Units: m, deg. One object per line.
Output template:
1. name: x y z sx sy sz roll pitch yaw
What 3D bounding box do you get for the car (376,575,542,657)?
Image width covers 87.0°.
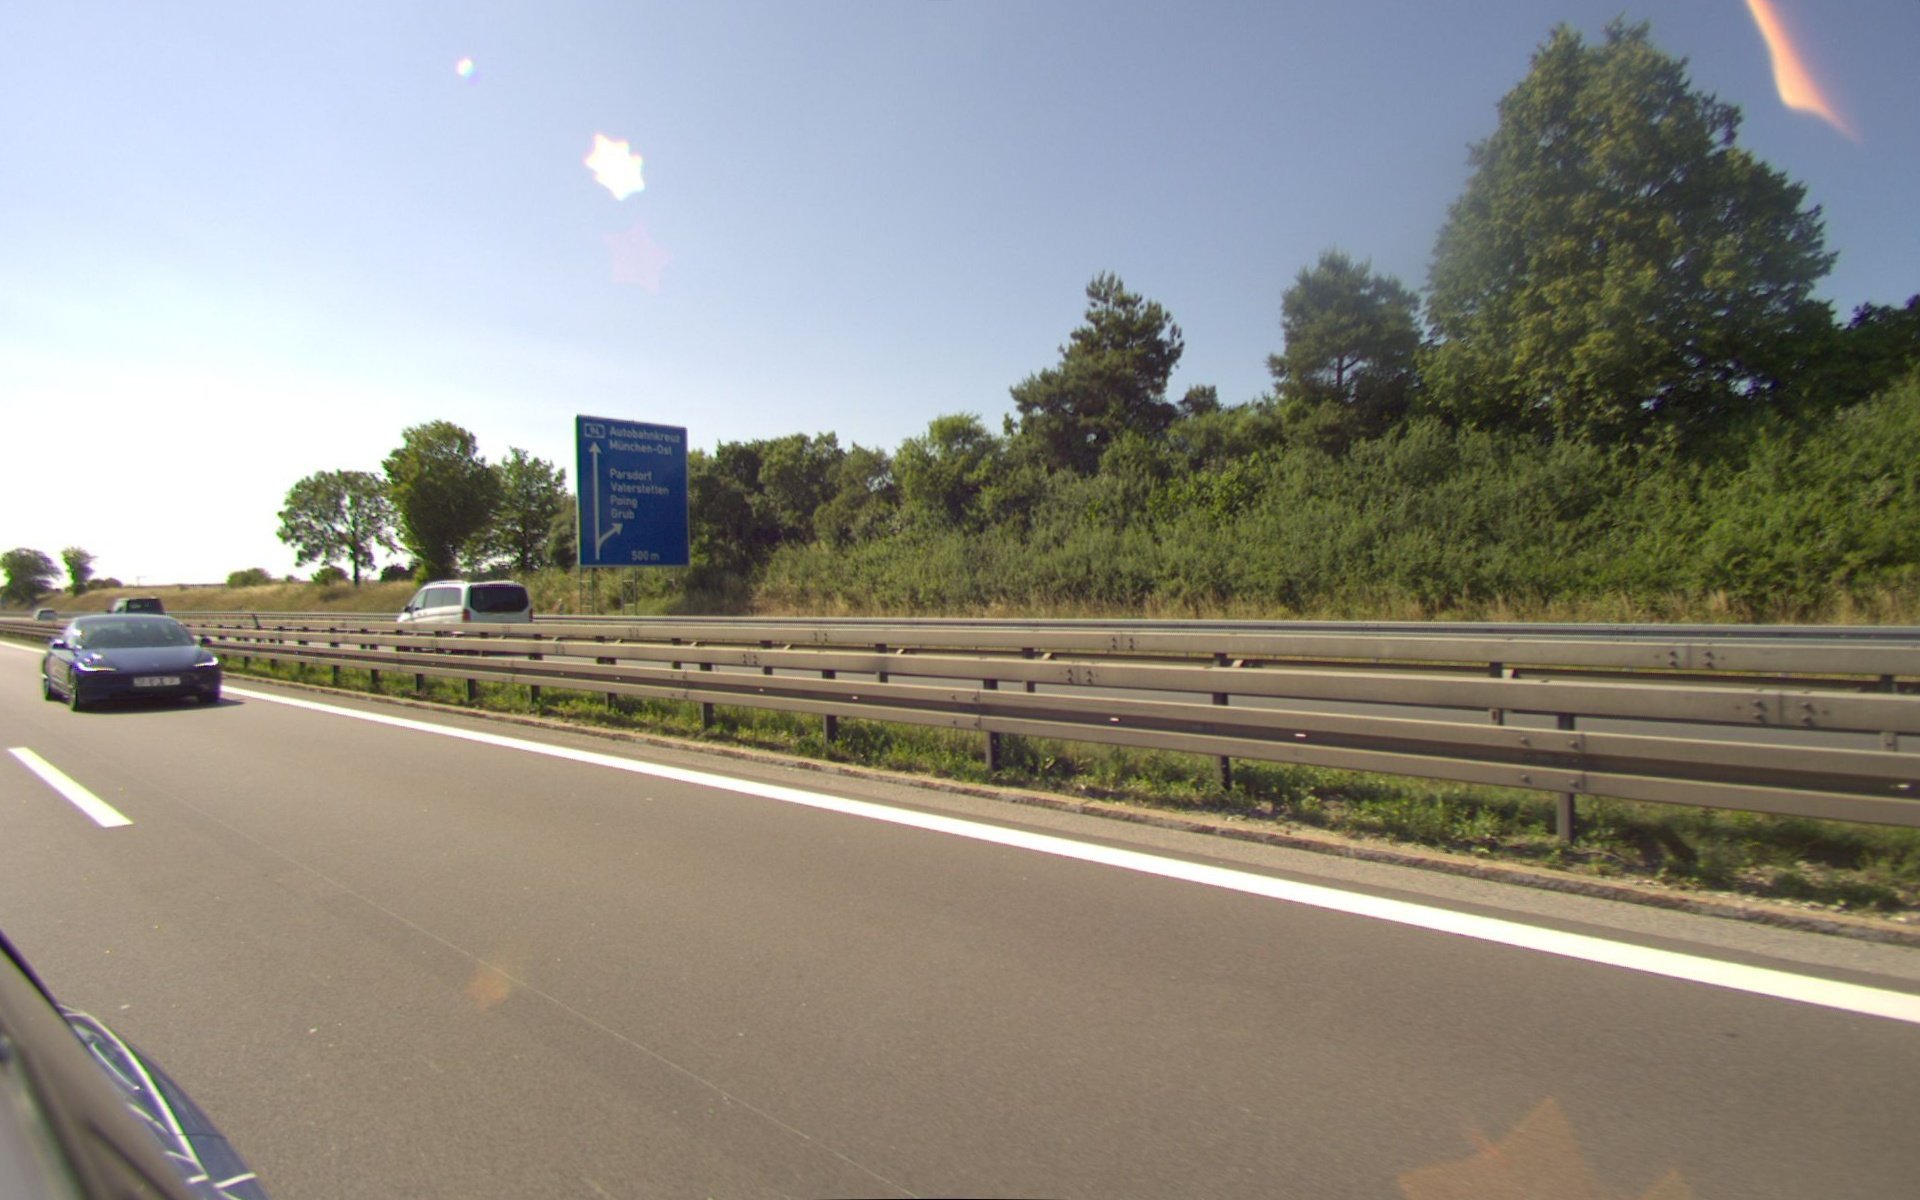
1. car: -13.585 0.406 27.246 5.689 2.005 1.973 -1 0 42

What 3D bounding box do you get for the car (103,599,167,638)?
1. car: -45.320 1.013 55.561 5.037 1.987 1.972 -1 1 42

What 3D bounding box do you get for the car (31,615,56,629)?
1. car: -96.238 2.314 106.230 4.231 1.362 1.506 -1 1 42

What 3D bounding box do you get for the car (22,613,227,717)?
1. car: -14.208 0.968 17.051 5.864 1.443 1.828 -1 -1 42
